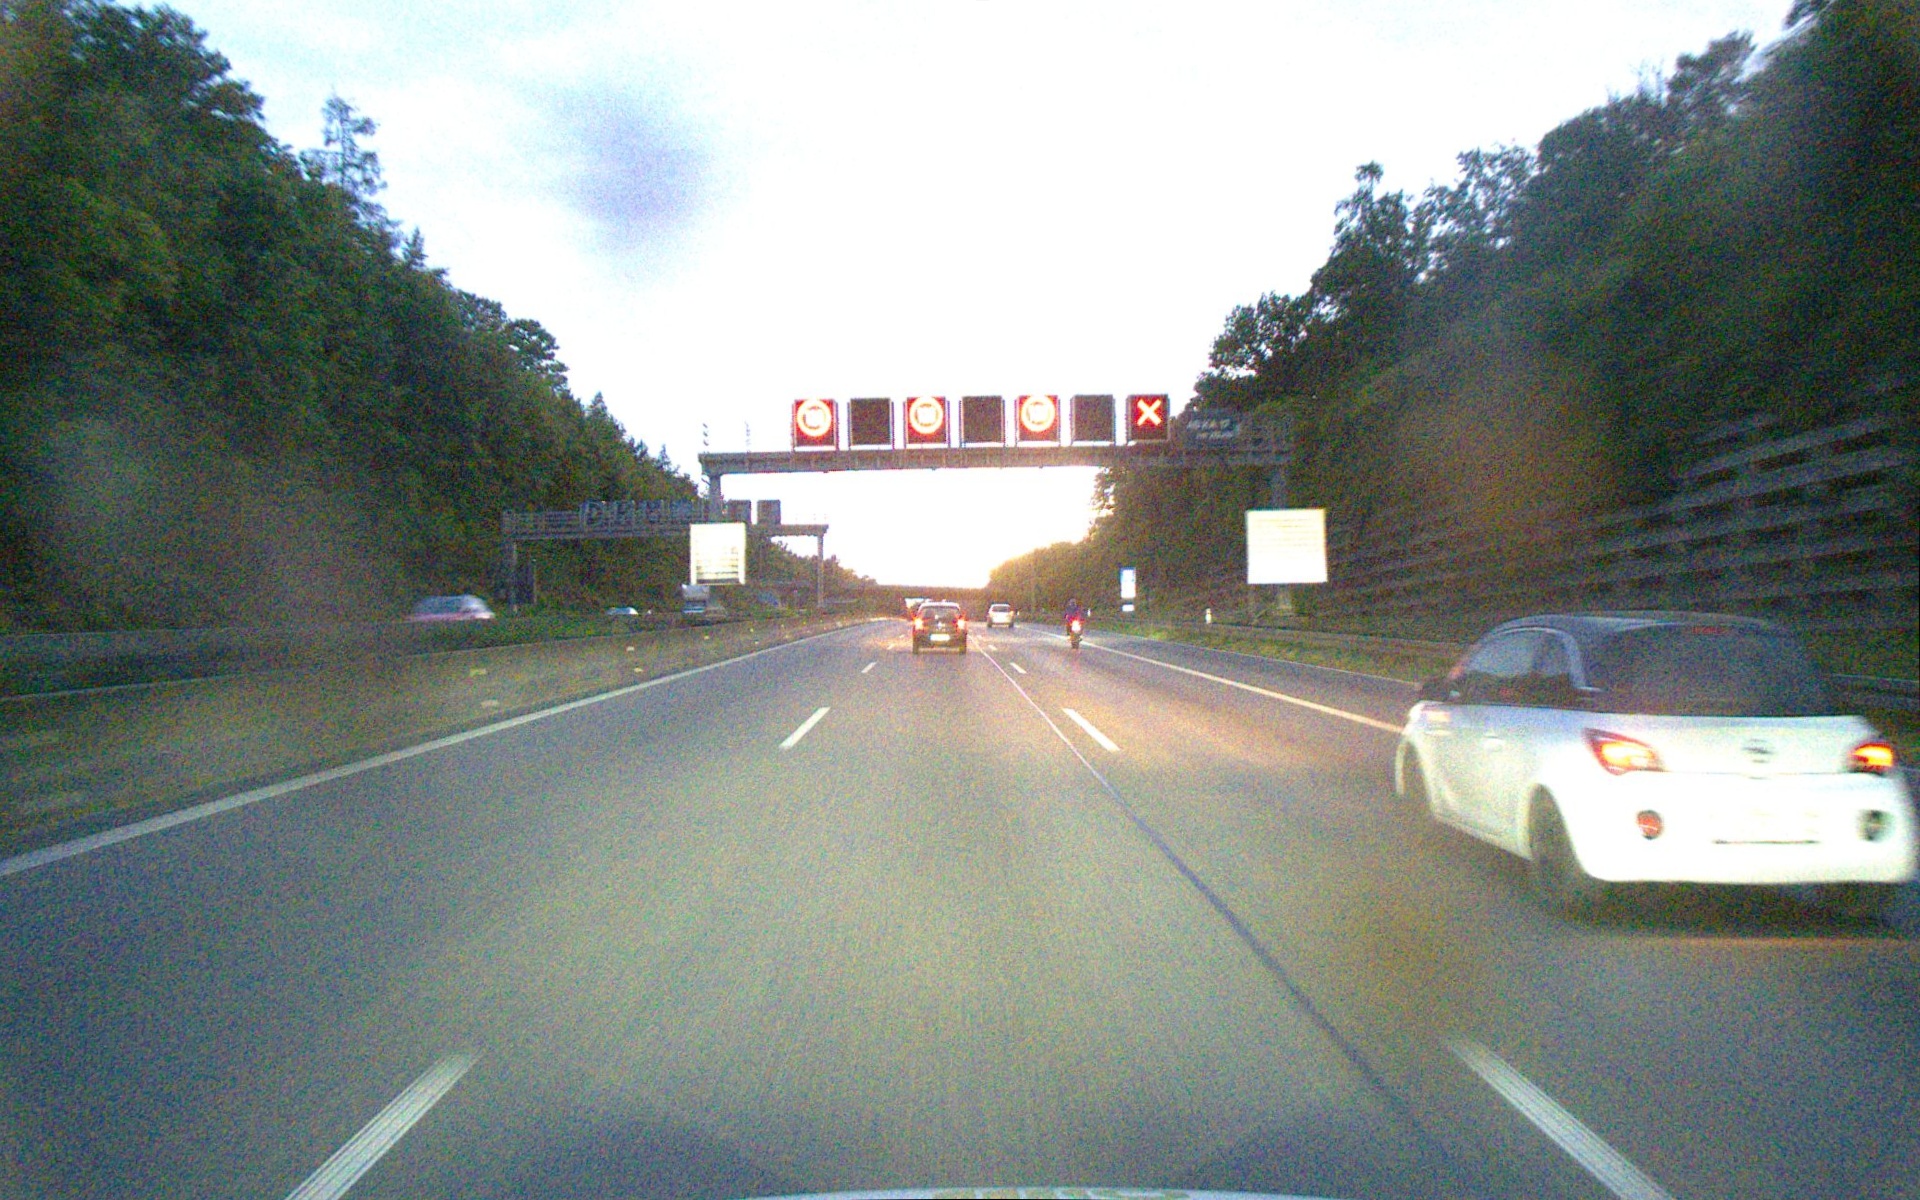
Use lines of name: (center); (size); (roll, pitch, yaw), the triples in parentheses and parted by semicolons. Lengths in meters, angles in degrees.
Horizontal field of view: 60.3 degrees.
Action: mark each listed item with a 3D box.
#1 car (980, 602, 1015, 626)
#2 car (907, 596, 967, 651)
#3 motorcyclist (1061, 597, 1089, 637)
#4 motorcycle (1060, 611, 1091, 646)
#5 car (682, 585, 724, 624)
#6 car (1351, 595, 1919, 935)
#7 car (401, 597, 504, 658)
car: (2.455, 0.924, 109.245); (1.829, 1.520, 4.394); (1, -1, -5)
car: (-0.677, 0.693, 48.938); (1.669, 1.536, 4.231); (1, -1, -1)
motorcyclist: (3.831, 0.574, 55.091); (0.813, 1.314, 1.190); (0, 0, -1)
motorcycle: (3.831, 0.943, 55.156); (0.813, 1.154, 2.475); (0, 0, -1)
car: (-19.952, 0.339, 128.786); (1.941, 2.931, 7.834); (-1, 0, 1)
car: (3.714, 0.728, 9.543); (1.788, 1.501, 4.397); (0, 0, -1)
car: (-15.068, 0.780, 49.375); (1.701, 1.745, 4.713); (0, 0, -1)
